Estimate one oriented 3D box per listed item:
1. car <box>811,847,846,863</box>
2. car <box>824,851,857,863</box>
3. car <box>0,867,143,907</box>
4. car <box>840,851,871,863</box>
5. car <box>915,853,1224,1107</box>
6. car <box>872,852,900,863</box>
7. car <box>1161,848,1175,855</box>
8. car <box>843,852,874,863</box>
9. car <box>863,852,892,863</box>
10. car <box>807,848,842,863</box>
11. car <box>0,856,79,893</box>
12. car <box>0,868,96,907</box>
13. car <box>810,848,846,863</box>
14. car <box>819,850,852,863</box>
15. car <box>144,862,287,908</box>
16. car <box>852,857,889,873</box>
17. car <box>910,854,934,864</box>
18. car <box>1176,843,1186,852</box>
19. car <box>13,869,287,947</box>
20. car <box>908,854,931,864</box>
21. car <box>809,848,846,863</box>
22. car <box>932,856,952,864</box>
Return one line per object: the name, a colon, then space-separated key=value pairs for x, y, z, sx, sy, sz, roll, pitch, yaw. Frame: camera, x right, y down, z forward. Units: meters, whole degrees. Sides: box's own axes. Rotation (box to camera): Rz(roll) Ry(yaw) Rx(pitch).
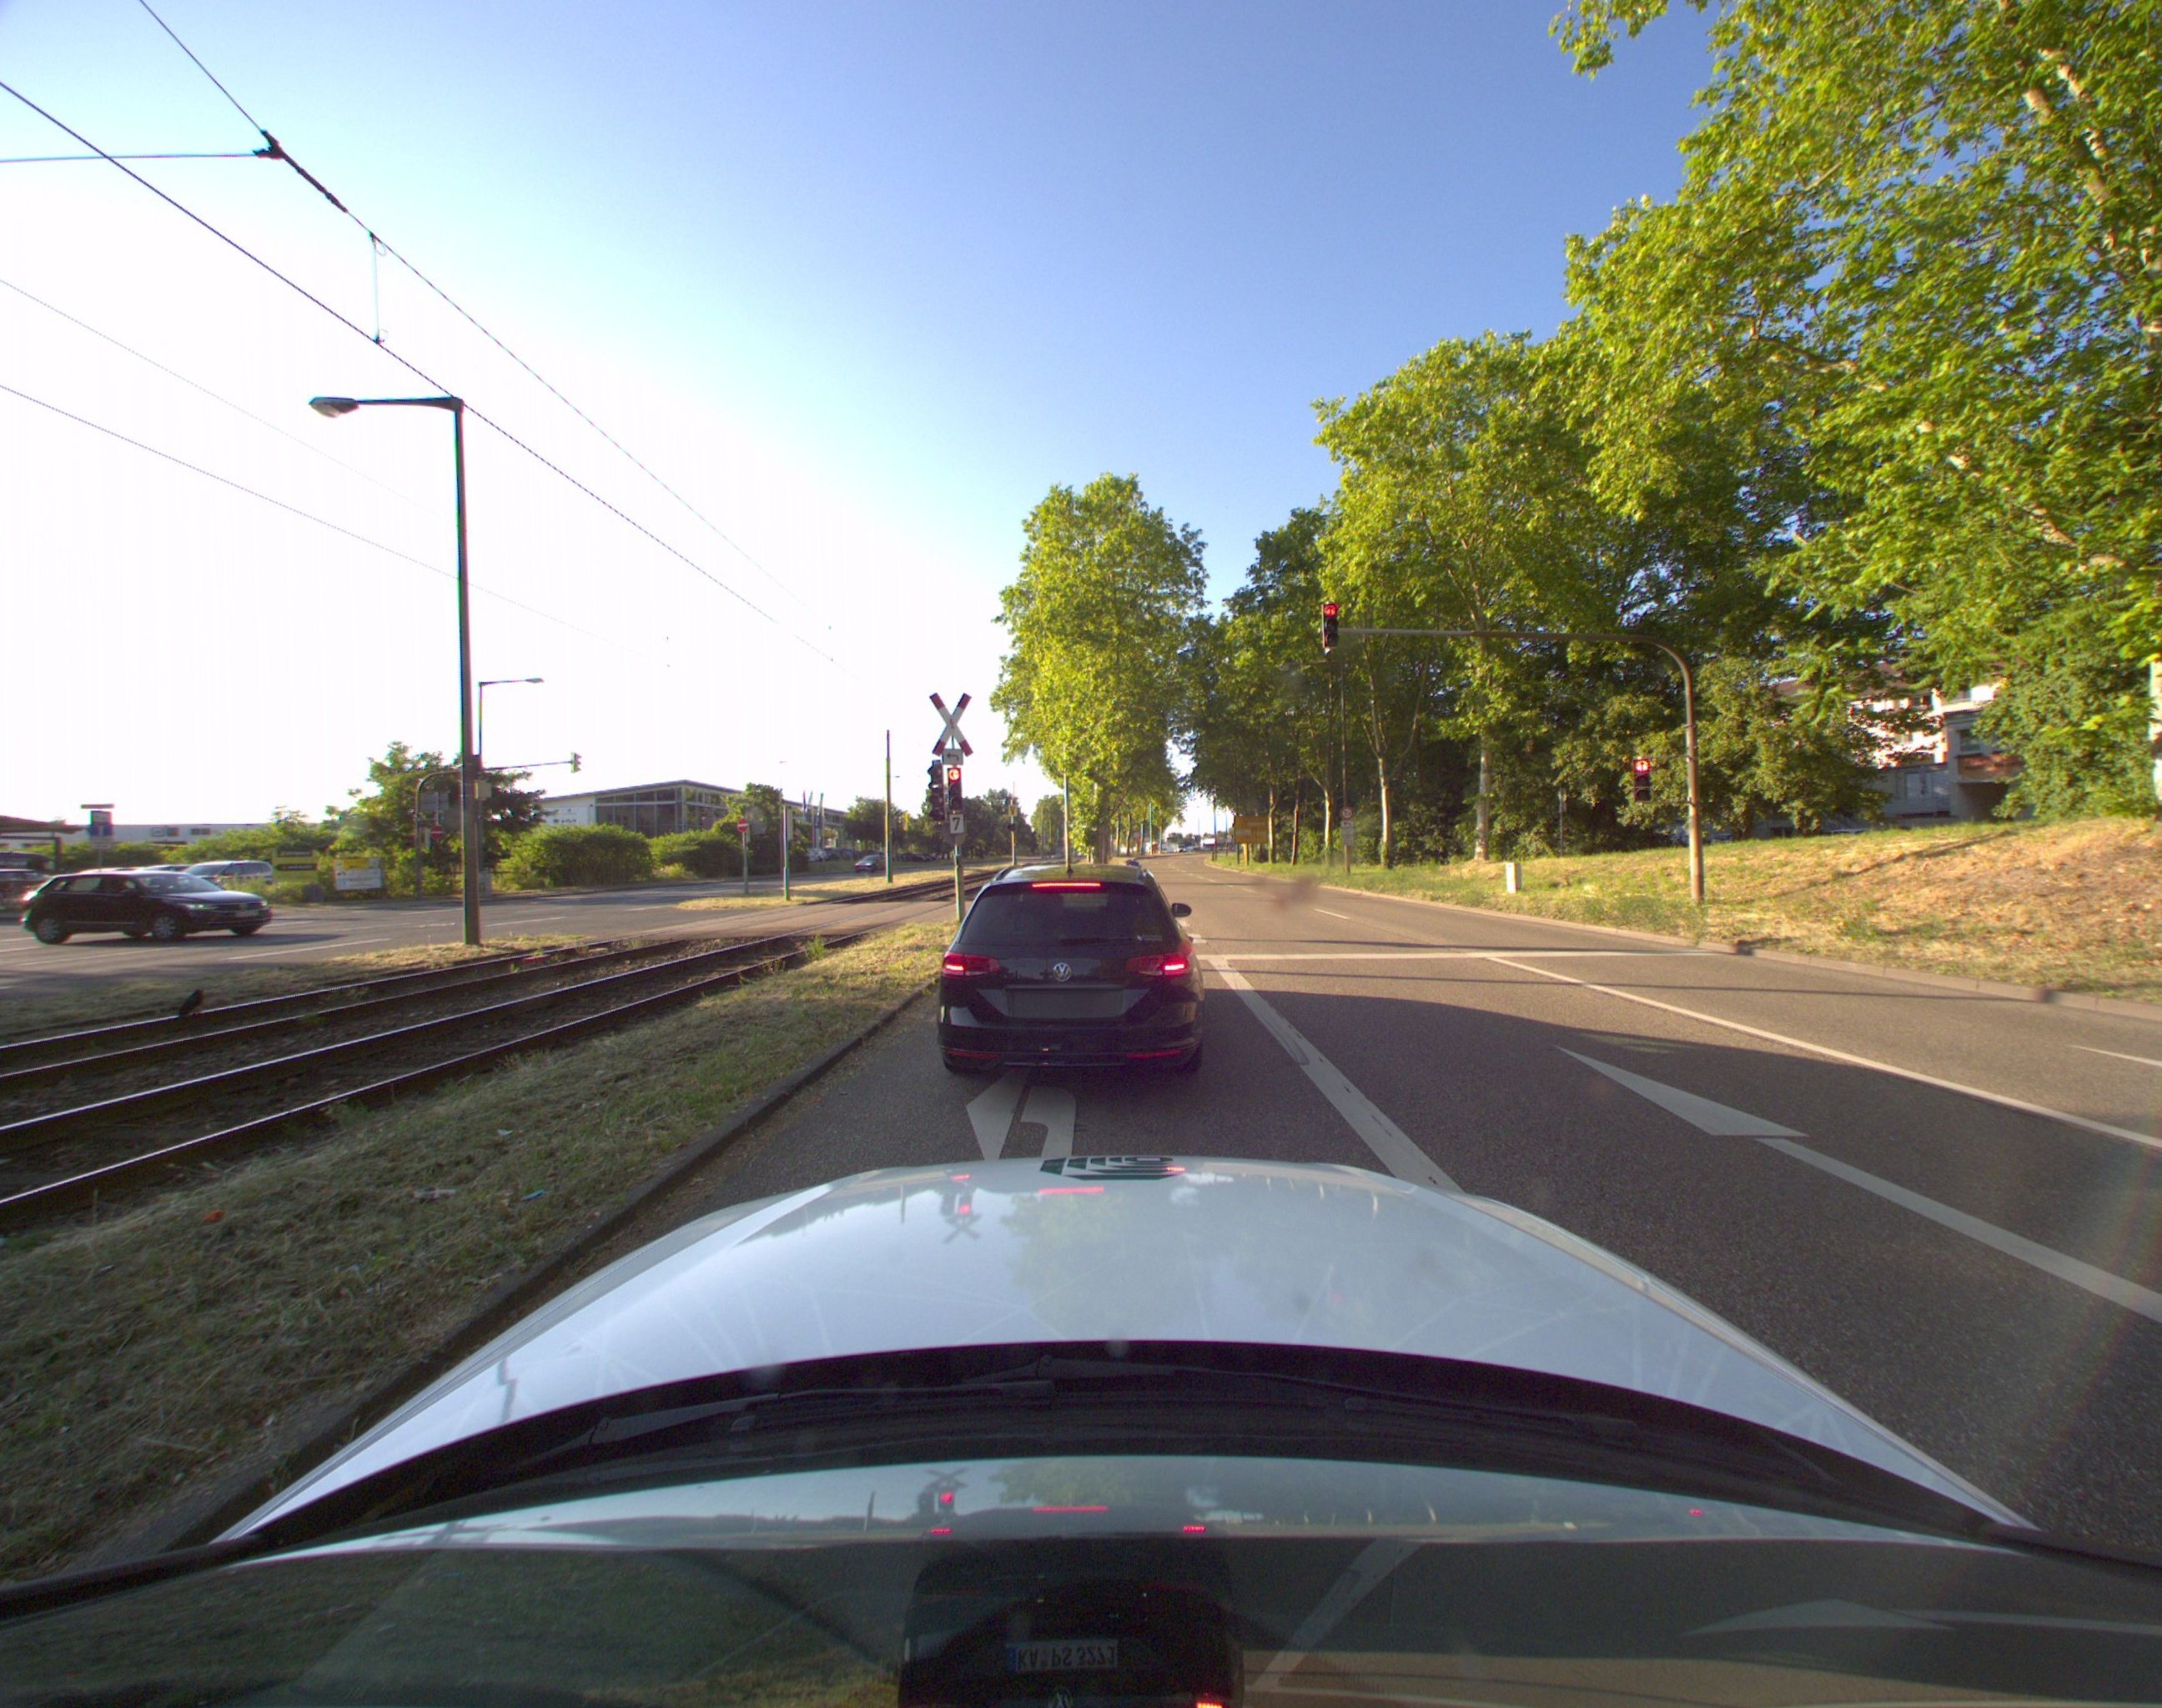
car: x=-30.605 y=0.138 z=98.740 sx=3.999 sy=1.816 sz=1.732 roll=-1 pitch=0 yaw=-19
car: x=-31.367 y=0.355 z=106.211 sx=3.999 sy=1.556 sz=1.732 roll=-1 pitch=0 yaw=-19
car: x=-44.713 y=1.412 z=35.895 sx=1.855 sy=1.583 sz=4.174 roll=0 pitch=0 yaw=2
car: x=-31.230 y=0.447 z=112.609 sx=3.999 sy=1.556 sz=1.732 roll=-1 pitch=0 yaw=-19
car: x=-0.022 y=0.736 z=6.525 sx=1.788 sy=1.464 sz=3.584 roll=0 pitch=0 yaw=1
car: x=-30.121 y=0.600 z=125.950 sx=3.978 sy=1.621 sz=1.742 roll=-1 pitch=0 yaw=-3
car: x=18.929 y=-0.547 z=176.747 sx=1.845 sy=1.481 sz=4.115 roll=0 pitch=0 yaw=24
car: x=-31.439 y=0.486 z=115.316 sx=3.983 sy=1.556 sz=1.739 roll=-1 pitch=0 yaw=-7
car: x=-30.609 y=0.556 z=122.749 sx=3.978 sy=1.621 sz=1.742 roll=-1 pitch=0 yaw=-3
car: x=-31.647 y=0.140 z=100.521 sx=3.999 sy=1.816 sz=1.732 roll=-1 pitch=0 yaw=-19
car: x=-60.424 y=1.160 z=45.907 sx=1.855 sy=2.014 sz=4.773 roll=0 pitch=0 yaw=2
car: x=-47.163 y=1.460 z=36.048 sx=1.970 sy=1.583 sz=4.174 roll=0 pitch=0 yaw=2
car: x=-29.953 y=0.174 z=96.386 sx=3.999 sy=1.704 sz=1.732 roll=-1 pitch=0 yaw=-19
car: x=-31.153 y=0.311 z=103.420 sx=3.999 sy=1.556 sz=1.732 roll=-1 pitch=0 yaw=-19
car: x=-38.526 y=1.330 z=36.413 sx=1.855 sy=1.821 sz=4.174 roll=0 pitch=0 yaw=2
car: x=-20.304 y=1.016 z=78.603 sx=1.850 sy=1.481 sz=4.185 roll=0 pitch=0 yaw=11
car: x=-29.258 y=0.922 z=150.011 sx=3.978 sy=1.621 sz=1.742 roll=-1 pitch=0 yaw=-3
car: x=25.716 y=-1.653 z=208.788 sx=2.086 sy=2.461 sz=5.857 roll=0 pitch=0 yaw=3
car: x=-22.167 y=1.255 z=19.528 sx=4.341 sy=1.635 sz=1.878 roll=-1 pitch=0 yaw=0
car: x=-29.106 y=0.878 z=146.842 sx=3.978 sy=1.621 sz=1.742 roll=-1 pitch=0 yaw=-3
car: x=-29.263 y=0.156 z=94.117 sx=3.999 sy=1.704 sz=1.732 roll=-1 pitch=0 yaw=-19
car: x=-28.812 y=1.195 z=168.923 sx=3.977 sy=1.556 sz=1.742 roll=-1 pitch=0 yaw=-2
